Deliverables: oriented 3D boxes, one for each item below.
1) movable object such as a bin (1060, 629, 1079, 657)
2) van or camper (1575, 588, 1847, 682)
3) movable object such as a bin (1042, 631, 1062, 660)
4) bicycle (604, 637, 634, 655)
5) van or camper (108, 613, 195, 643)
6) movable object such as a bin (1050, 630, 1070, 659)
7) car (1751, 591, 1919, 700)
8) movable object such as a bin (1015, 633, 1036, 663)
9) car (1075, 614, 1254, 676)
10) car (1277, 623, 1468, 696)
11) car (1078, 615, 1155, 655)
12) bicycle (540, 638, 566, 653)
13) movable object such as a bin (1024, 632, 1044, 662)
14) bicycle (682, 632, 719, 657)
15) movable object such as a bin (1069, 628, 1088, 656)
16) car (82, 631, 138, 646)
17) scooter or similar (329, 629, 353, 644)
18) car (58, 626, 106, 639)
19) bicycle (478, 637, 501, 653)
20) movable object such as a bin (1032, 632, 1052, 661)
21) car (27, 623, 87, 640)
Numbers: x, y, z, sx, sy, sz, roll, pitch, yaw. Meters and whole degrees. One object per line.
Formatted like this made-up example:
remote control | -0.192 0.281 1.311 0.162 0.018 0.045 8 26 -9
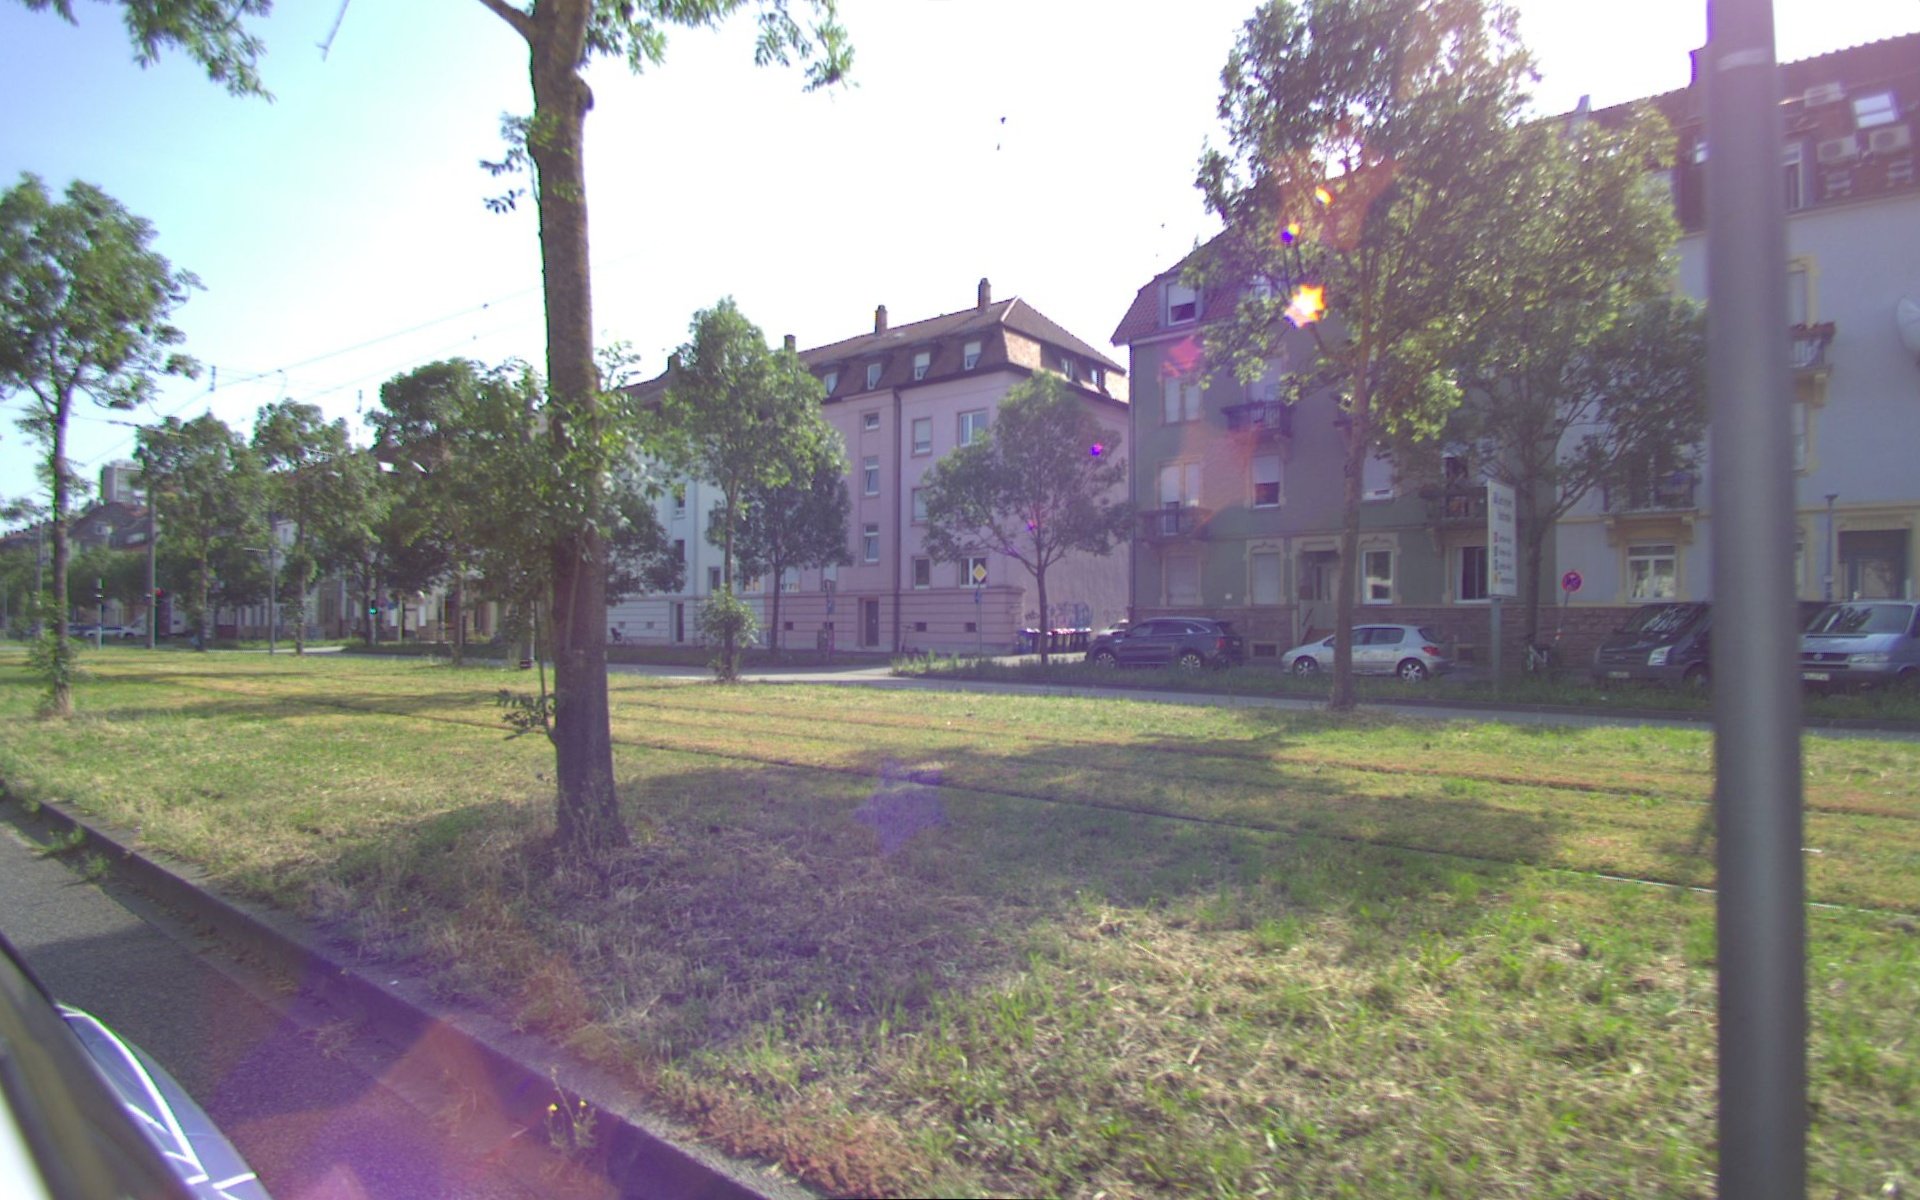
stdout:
movable object such as a bin | 4.906 1.929 45.241 0.639 1.220 0.579 -1 1 38
van or camper | 15.122 0.625 20.422 4.767 1.635 2.009 -2 1 -18
movable object such as a bin | 4.021 1.965 44.101 0.639 1.220 0.579 -1 1 38
bicycle | -17.765 2.405 52.677 1.944 0.863 0.443 -1 1 38
van or camper | -74.718 2.560 93.650 5.825 2.592 2.206 -1 1 -17
movable object such as a bin | 4.423 1.949 44.599 0.639 1.220 0.579 -1 1 38
car | 16.862 0.703 17.953 5.132 1.635 2.063 -2 1 -21
movable object such as a bin | 2.749 2.017 42.464 0.639 1.220 0.579 -1 1 38
car | 5.967 1.278 29.808 4.767 1.640 1.975 -1 1 38
car | 10.505 1.451 25.938 4.155 1.640 1.870 -1 1 42
car | 7.424 1.623 47.665 1.823 1.640 4.238 -1 1 37
bicycle | -22.886 2.552 56.931 1.944 0.795 0.433 -1 1 38
movable object such as a bin | 3.132 2.001 42.968 0.639 1.220 0.579 -1 1 38
bicycle | -12.399 2.098 48.341 1.944 1.136 0.598 -1 1 38
movable object such as a bin | 5.358 1.912 45.756 0.639 1.220 0.579 -1 1 38
car | -85.211 3.833 101.515 3.946 1.326 1.667 -1 1 -17
scooter or similar | -47.345 2.786 77.396 1.476 1.077 0.738 -1 1 18
car | -95.333 3.555 109.911 3.624 1.251 1.667 -1 1 -17
bicycle | -28.710 2.742 61.732 1.944 0.895 0.463 -1 1 38
movable object such as a bin | 3.541 1.984 43.498 0.639 1.220 0.579 -1 1 38
car | -105.677 3.694 118.519 4.868 1.739 1.862 -1 1 -17
